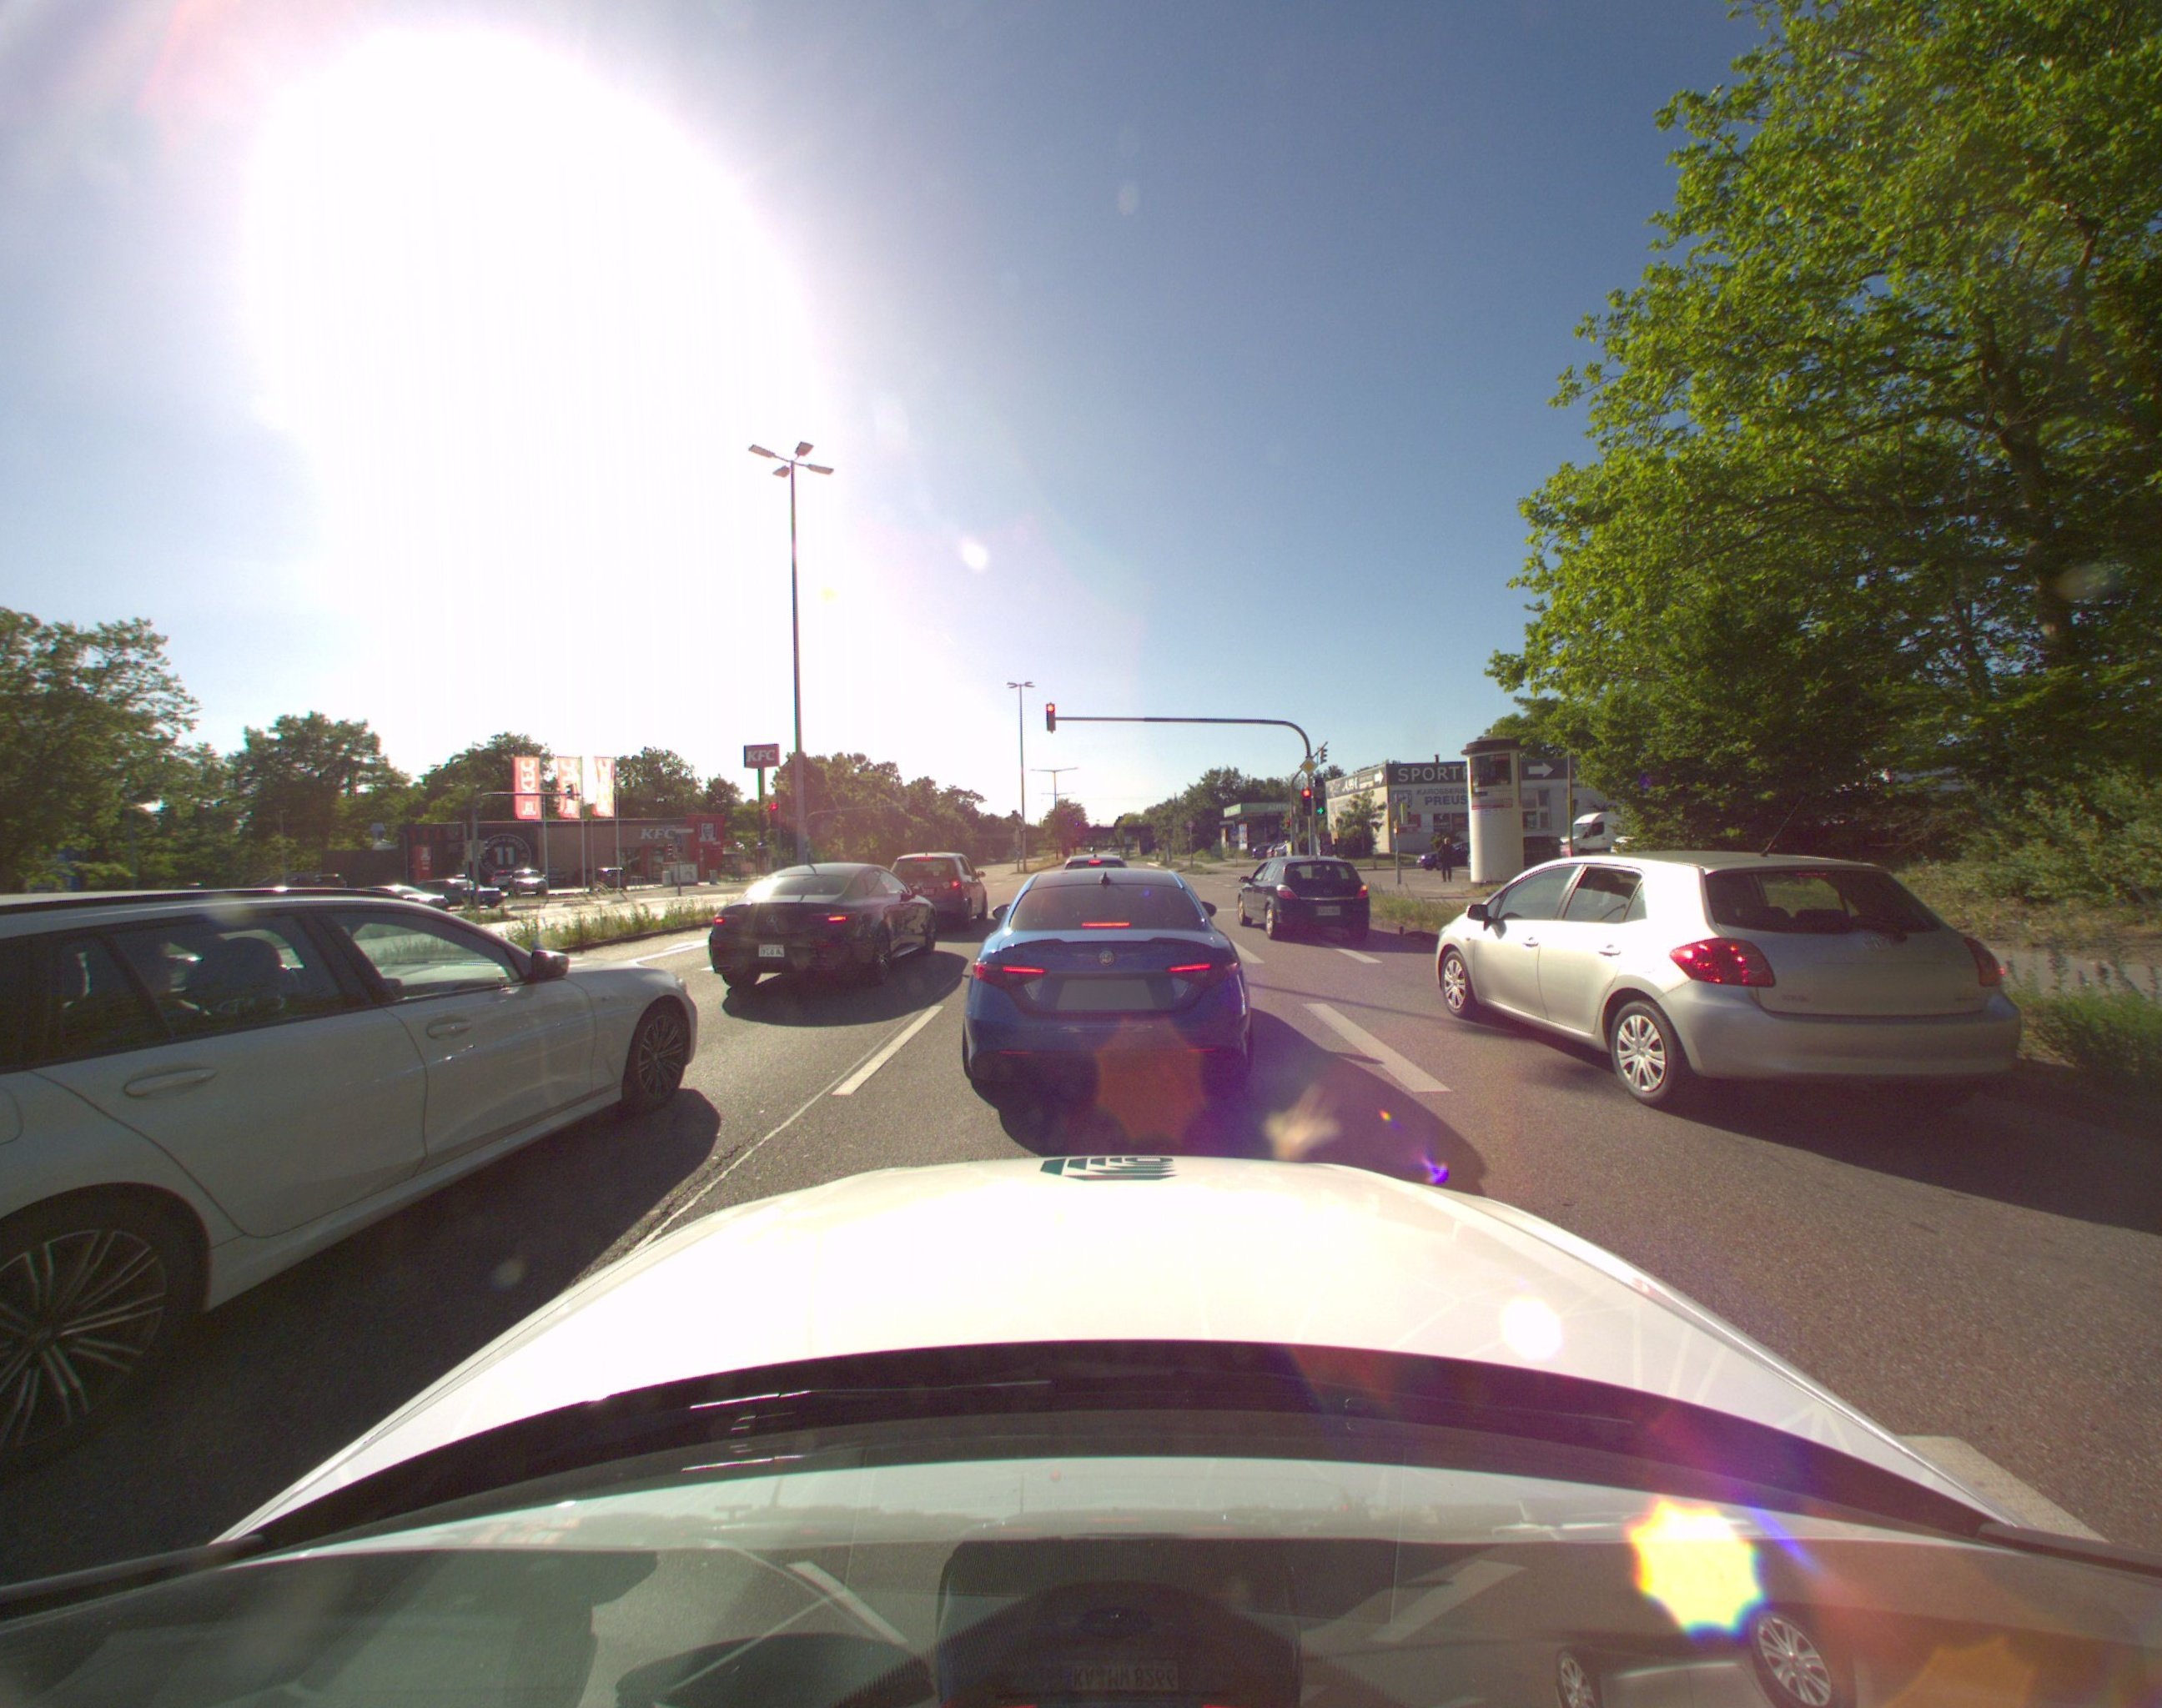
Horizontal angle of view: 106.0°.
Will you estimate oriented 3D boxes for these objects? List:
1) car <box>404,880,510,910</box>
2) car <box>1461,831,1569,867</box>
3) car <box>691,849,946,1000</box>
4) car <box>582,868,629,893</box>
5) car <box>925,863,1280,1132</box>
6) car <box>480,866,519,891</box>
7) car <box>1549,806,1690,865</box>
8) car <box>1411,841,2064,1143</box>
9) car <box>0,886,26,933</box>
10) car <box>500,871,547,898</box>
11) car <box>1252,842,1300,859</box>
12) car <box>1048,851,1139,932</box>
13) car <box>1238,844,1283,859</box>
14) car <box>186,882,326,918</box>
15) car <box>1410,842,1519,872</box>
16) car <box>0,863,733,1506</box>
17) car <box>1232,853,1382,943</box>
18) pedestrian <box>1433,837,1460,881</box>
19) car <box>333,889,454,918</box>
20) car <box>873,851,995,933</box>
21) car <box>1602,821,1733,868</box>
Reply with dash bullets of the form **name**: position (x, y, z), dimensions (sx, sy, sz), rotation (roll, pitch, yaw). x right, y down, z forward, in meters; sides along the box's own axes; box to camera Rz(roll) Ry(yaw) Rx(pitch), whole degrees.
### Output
- **car**: position (-31.922, 2.089, 41.756), dimensions (3.939, 1.453, 1.937), rotation (0, -1, 1)
- **car**: position (20.657, -0.228, 38.864), dimensions (4.291, 1.650, 1.638), rotation (0, -1, 1)
- **car**: position (-3.132, 0.737, 10.818), dimensions (1.806, 1.551, 4.544), rotation (-1, 0, 1)
- **car**: position (-33.915, 1.860, 58.030), dimensions (1.946, 1.740, 4.046), rotation (0, -1, -45)
- **car**: position (0.221, 0.787, 6.235), dimensions (1.901, 1.423, 3.722), rotation (0, -1, 3)
- **car**: position (-45.348, 1.877, 63.448), dimensions (2.011, 1.813, 3.727), rotation (0, -1, -43)
- **car**: position (27.693, -0.925, 42.051), dimensions (5.812, 2.672, 2.001), rotation (-3, -1, 2)
- **car**: position (4.187, 0.697, 6.223), dimensions (1.777, 1.537, 4.109), rotation (0, 0, 2)
- **car**: position (-34.461, 1.723, 23.914), dimensions (1.992, 1.442, 3.989), rotation (0, -1, -8)
- **car**: position (-37.382, 2.015, 54.559), dimensions (1.946, 1.740, 4.046), rotation (0, -1, -45)
- **car**: position (17.818, -0.309, 74.456), dimensions (3.971, 1.552, 2.001), rotation (0, -1, 2)
- **car**: position (0.346, 0.721, 17.057), dimensions (1.696, 1.497, 3.722), rotation (0, -1, 3)
- **car**: position (18.276, -0.264, 83.045), dimensions (3.995, 1.552, 1.989), rotation (0, -1, -16)
- **car**: position (-39.098, 2.182, 38.696), dimensions (4.608, 1.579, 1.936), rotation (0, -1, 0)
- **car**: position (19.822, 0.167, 42.204), dimensions (4.803, 1.468, 1.758), rotation (0, -1, 0)
- **car**: position (-3.445, 0.833, 3.422), dimensions (1.805, 1.486, 4.599), rotation (-1, 0, 2)
- **car**: position (4.072, 0.721, 15.410), dimensions (1.727, 1.442, 4.373), rotation (0, 0, 2)
- **pedestrian**: position (14.190, 0.189, 31.664), dimensions (0.814, 1.669, 0.514), rotation (0, -1, 1)
- **car**: position (-32.185, 2.310, 38.212), dimensions (4.070, 1.252, 1.871), rotation (0, -1, 0)
- **car**: position (-3.011, 0.738, 17.624), dimensions (1.806, 1.551, 4.353), rotation (0, -1, 0)
- **car**: position (28.215, -0.447, 39.299), dimensions (4.937, 2.035, 1.881), rotation (-2, -1, 0)
